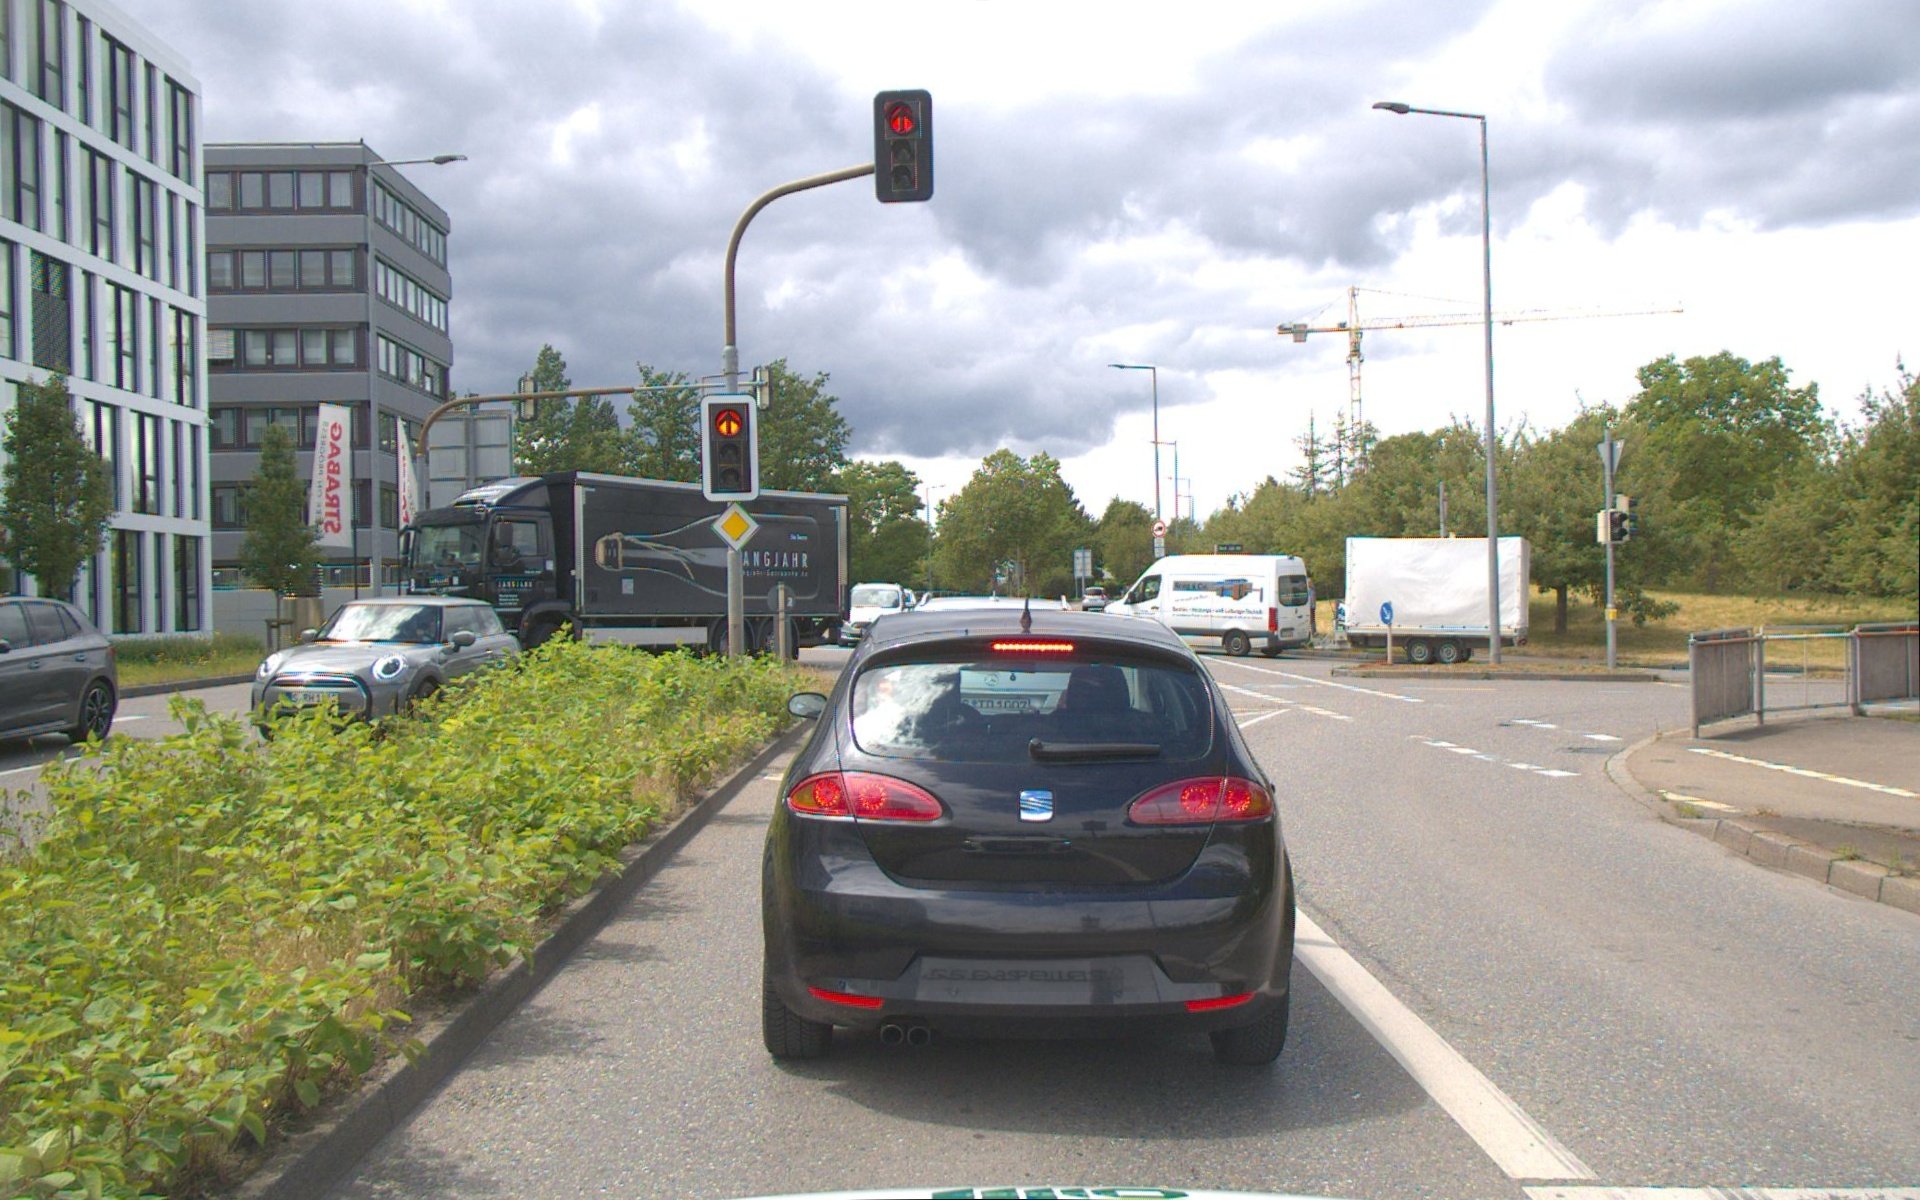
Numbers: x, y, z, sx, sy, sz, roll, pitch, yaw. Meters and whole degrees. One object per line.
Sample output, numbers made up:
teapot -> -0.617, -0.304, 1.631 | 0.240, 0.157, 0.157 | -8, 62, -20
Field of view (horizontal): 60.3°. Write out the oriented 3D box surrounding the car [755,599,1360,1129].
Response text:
car -> 0.257, 0.741, 6.355 | 1.676, 1.442, 3.459 | 1, 0, -1

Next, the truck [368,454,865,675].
truck -> -6.144, -0.585, 31.569 | 3.117, 3.579, 9.482 | 2, 1, 38

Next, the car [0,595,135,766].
car -> -8.987, 0.694, 14.620 | 1.522, 1.407, 3.779 | 1, 1, -1

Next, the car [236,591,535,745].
car -> -5.956, 0.645, 17.608 | 1.653, 1.455, 3.637 | -1, 0, 5

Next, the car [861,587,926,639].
car -> -2.060, 0.375, 52.247 | 1.625, 1.545, 4.086 | 1, 1, 3

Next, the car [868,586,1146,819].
car -> 0.324, 0.678, 12.702 | 1.797, 1.493, 3.751 | 1, 0, 0

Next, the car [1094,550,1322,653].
car -> 6.518, 0.024, 43.985 | 5.725, 2.562, 2.123 | 1, 0, 40

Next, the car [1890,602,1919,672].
car -> 24.320, 0.852, 38.359 | 4.362, 1.593, 2.001 | 0, 1, 4

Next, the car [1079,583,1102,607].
car -> 9.272, -0.341, 117.402 | 1.632, 1.624, 4.002 | 1, 0, 5

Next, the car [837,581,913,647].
car -> -2.315, 0.342, 46.165 | 1.783, 1.716, 4.646 | 1, 1, 1

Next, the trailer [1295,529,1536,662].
trailer -> 11.295, -0.126, 40.985 | 5.455, 3.127, 2.499 | 1, 0, 23
